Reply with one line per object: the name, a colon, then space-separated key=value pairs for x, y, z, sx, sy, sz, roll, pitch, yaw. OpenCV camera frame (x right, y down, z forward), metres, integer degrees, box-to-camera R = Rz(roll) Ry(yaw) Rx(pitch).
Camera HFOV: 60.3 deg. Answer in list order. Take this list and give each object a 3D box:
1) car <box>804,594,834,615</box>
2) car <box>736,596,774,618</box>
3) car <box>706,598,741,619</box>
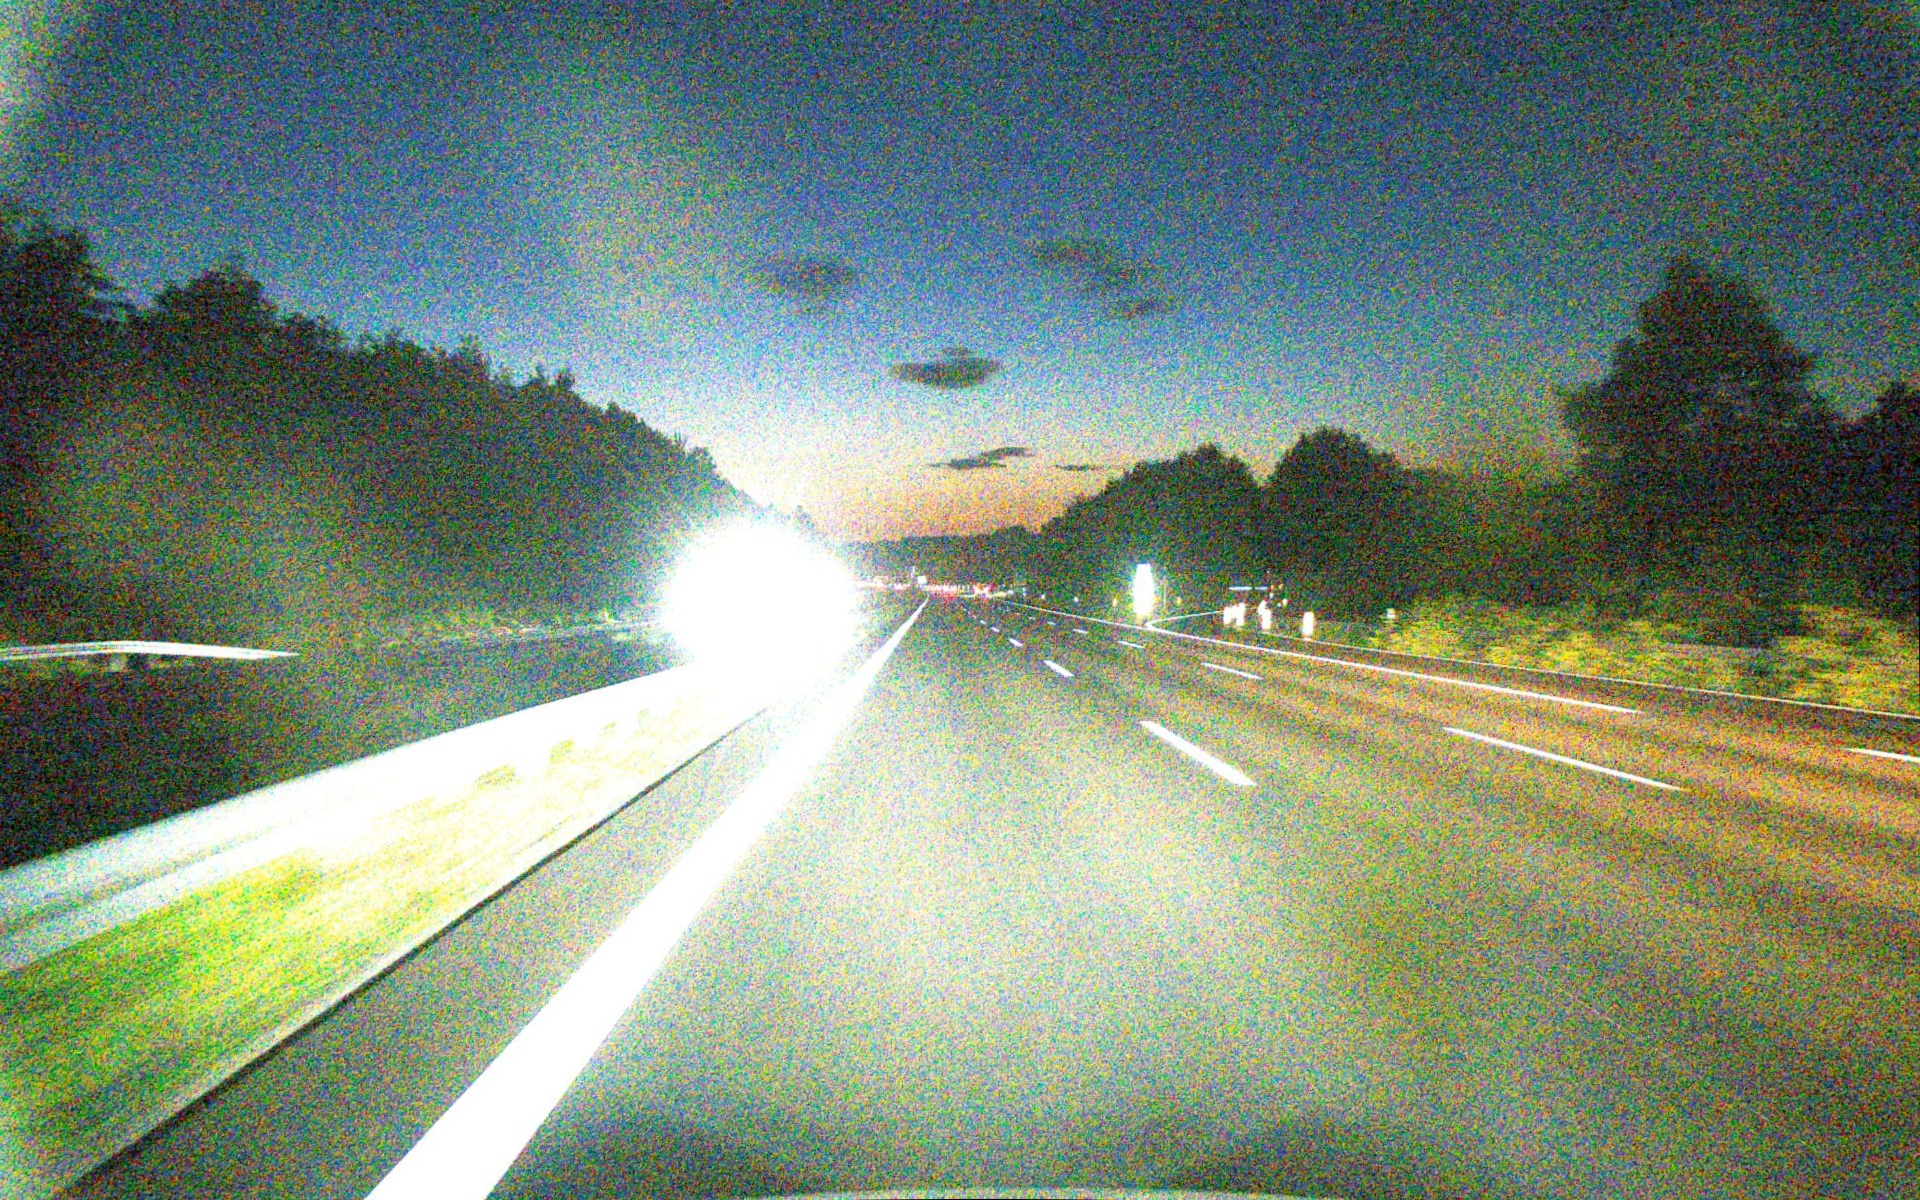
car: x=-11.114 y=0.351 z=130.577 sx=1.953 sy=1.487 sz=4.899 roll=-3 pitch=0 yaw=0
car: x=-13.793 y=0.471 z=111.780 sx=1.953 sy=1.418 sz=5.704 roll=-2 pitch=0 yaw=-1
car: x=-17.654 y=0.636 z=123.483 sx=1.953 sy=1.511 sz=4.799 roll=-2 pitch=0 yaw=-1
